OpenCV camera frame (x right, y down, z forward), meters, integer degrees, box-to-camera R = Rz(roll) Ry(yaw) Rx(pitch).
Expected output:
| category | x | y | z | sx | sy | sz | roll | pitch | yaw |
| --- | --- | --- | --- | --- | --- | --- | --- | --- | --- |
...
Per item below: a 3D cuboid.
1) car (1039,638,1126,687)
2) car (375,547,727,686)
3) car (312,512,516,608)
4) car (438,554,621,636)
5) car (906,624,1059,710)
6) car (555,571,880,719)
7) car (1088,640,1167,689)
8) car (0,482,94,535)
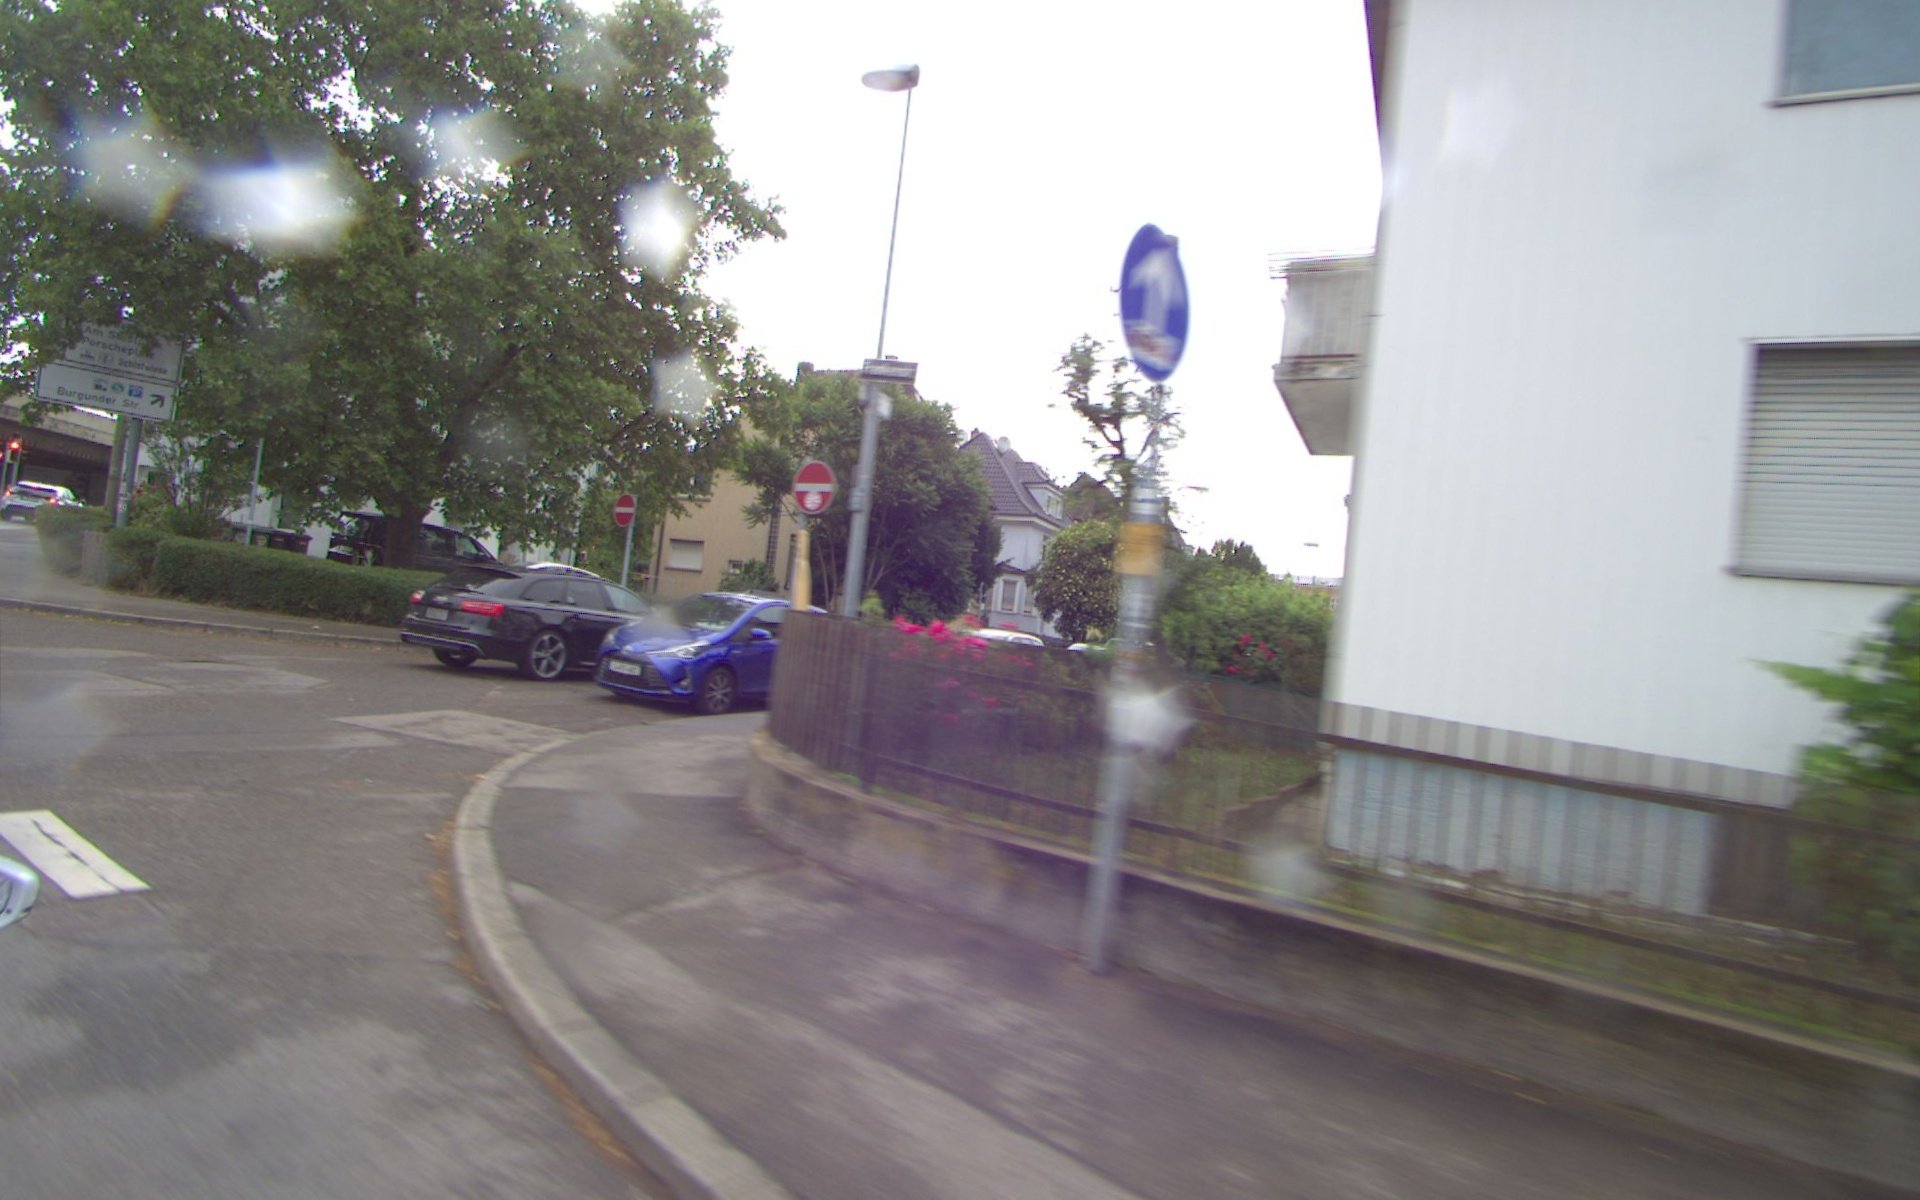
| category | x | y | z | sx | sy | sz | roll | pitch | yaw |
| --- | --- | --- | --- | --- | --- | --- | --- | --- | --- |
| car | 4.963 | 2.530 | 40.399 | 1.966 | 1.575 | 3.995 | 7 | -1 | 29 |
| car | -5.659 | 0.335 | 14.733 | 1.851 | 1.498 | 4.818 | 7 | -1 | 21 |
| car | -14.721 | -1.015 | 27.406 | 1.964 | 1.954 | 4.414 | 7 | -1 | 25 |
| car | -11.226 | -0.085 | 26.489 | 1.792 | 1.598 | 3.994 | 7 | -1 | 31 |
| car | 0.585 | 1.468 | 21.663 | 1.741 | 1.470 | 3.784 | 8 | -1 | 26 |
| car | -3.045 | 0.648 | 13.533 | 1.853 | 1.498 | 4.123 | 7 | -1 | 28 |
| car | 7.563 | 2.925 | 45.135 | 1.967 | 1.796 | 3.994 | 7 | -1 | 32 |
| car | -35.841 | -3.541 | 39.353 | 1.978 | 1.567 | 3.973 | 8 | -2 | -28 |
